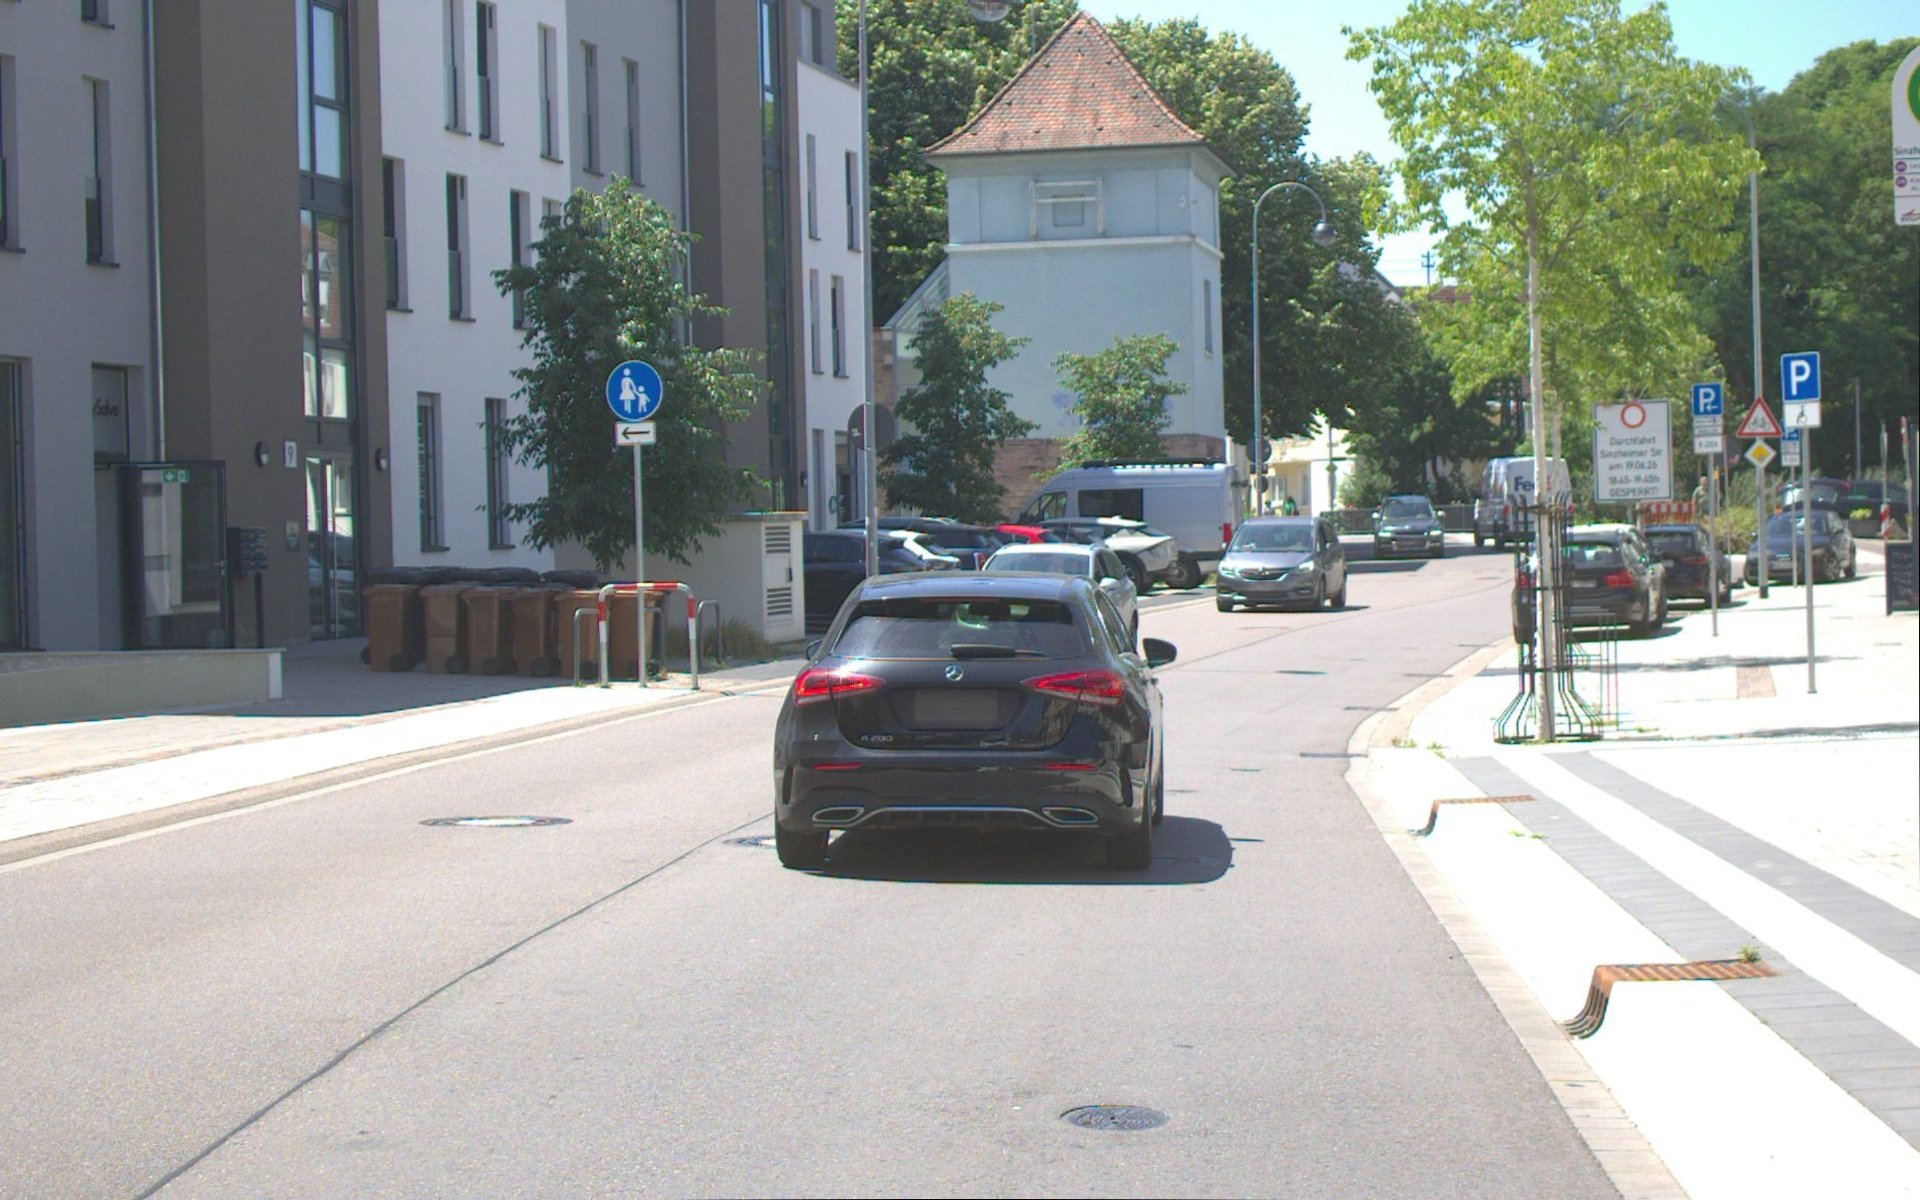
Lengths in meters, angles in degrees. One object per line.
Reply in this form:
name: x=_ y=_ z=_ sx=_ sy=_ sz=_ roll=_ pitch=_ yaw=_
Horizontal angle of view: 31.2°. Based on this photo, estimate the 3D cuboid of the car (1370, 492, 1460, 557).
car: x=12.154 y=-2.012 z=91.729 sx=1.812 sy=1.695 sz=4.073 roll=0 pitch=1 yaw=16

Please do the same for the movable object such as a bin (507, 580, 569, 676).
movable object such as a bin: x=-4.471 y=0.291 z=36.448 sx=0.483 sy=0.994 sz=0.587 roll=0 pitch=1 yaw=12

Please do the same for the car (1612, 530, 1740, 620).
car: x=12.248 y=-0.450 z=58.637 sx=1.725 sy=1.400 sz=4.605 roll=-2 pitch=1 yaw=17

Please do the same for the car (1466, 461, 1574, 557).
car: x=15.721 y=-2.547 z=96.760 sx=2.127 sy=2.621 sz=5.278 roll=0 pitch=1 yaw=0

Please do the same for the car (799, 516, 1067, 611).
car: x=-0.427 y=-0.621 z=56.813 sx=4.035 sy=1.491 sz=1.999 roll=1 pitch=2 yaw=15

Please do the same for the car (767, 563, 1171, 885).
car: x=0.155 y=0.539 z=17.578 sx=1.828 sy=1.437 sz=4.000 roll=0 pitch=1 yaw=3

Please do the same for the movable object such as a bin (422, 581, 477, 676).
movable object such as a bin: x=-5.468 y=0.303 z=36.849 sx=0.403 sy=0.994 sz=0.555 roll=0 pitch=1 yaw=11

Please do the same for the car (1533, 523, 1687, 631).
car: x=9.961 y=-0.378 z=52.476 sx=1.739 sy=1.481 sz=4.051 roll=-3 pitch=1 yaw=18

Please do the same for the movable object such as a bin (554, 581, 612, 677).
movable object such as a bin: x=-3.966 y=0.302 z=36.206 sx=0.483 sy=0.994 sz=0.588 roll=-1 pitch=1 yaw=5

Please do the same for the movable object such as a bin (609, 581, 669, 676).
movable object such as a bin: x=-3.438 y=0.298 z=36.830 sx=0.483 sy=0.994 sz=0.587 roll=0 pitch=1 yaw=11

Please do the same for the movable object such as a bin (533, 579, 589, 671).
movable object such as a bin: x=-4.463 y=0.277 z=38.484 sx=0.554 sy=0.994 sz=0.404 roll=-1 pitch=1 yaw=-1

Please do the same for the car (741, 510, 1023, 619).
car: x=-1.210 y=-0.581 z=54.125 sx=4.035 sy=1.645 sz=1.999 roll=1 pitch=2 yaw=15

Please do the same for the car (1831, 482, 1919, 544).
car: x=26.441 y=-2.425 z=95.796 sx=4.077 sy=1.710 sz=1.855 roll=1 pitch=2 yaw=11

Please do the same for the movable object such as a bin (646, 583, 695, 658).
movable object such as a bin: x=-3.394 y=0.238 z=40.328 sx=0.554 sy=0.865 sz=0.482 roll=-1 pitch=1 yaw=-5

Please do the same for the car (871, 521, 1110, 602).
car: x=0.583 y=-0.732 z=63.678 sx=4.201 sy=1.432 sz=1.885 roll=1 pitch=2 yaw=9

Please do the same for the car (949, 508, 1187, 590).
car: x=2.176 y=-1.043 z=68.902 sx=4.456 sy=1.585 sz=1.999 roll=1 pitch=2 yaw=13

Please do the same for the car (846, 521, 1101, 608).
car: x=0.247 y=-0.631 z=59.631 sx=4.035 sy=1.425 sz=1.999 roll=1 pitch=2 yaw=15

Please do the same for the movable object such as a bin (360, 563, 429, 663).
movable object such as a bin: x=-6.337 y=0.140 z=38.550 sx=0.692 sy=1.092 sz=0.648 roll=-1 pitch=1 yaw=-5

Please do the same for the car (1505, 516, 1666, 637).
car: x=8.510 y=-0.332 z=46.515 sx=1.833 sy=1.477 sz=4.093 roll=-3 pitch=0 yaw=14

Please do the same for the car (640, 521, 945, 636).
car: x=-2.384 y=-0.329 z=49.504 sx=3.989 sy=1.510 sz=1.999 roll=1 pitch=4 yaw=13

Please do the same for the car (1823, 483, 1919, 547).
car: x=25.747 y=-2.329 z=93.965 sx=4.077 sy=1.710 sz=1.855 roll=1 pitch=2 yaw=11

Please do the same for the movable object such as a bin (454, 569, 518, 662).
movable object such as a bin: x=-5.431 y=0.174 z=39.403 sx=0.675 sy=1.035 sz=0.605 roll=-1 pitch=1 yaw=-5

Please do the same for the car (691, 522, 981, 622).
car: x=-1.851 y=-0.443 z=51.691 sx=3.989 sy=1.416 sz=1.909 roll=1 pitch=1 yaw=13

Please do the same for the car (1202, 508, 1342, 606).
car: x=5.513 y=-0.766 z=60.264 sx=1.943 sy=1.653 sz=4.233 roll=0 pitch=1 yaw=12

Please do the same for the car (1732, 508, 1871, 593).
car: x=16.941 y=-1.009 z=69.078 sx=1.874 sy=1.486 sz=3.857 roll=-2 pitch=2 yaw=26

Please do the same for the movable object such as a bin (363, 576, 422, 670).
movable object such as a bin: x=-6.107 y=0.245 z=37.010 sx=0.483 sy=0.994 sz=0.588 roll=-1 pitch=1 yaw=5

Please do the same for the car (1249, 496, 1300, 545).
car: x=13.101 y=-3.297 z=143.342 sx=1.994 sy=2.007 sz=3.999 roll=1 pitch=1 yaw=4

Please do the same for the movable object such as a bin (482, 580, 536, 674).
movable object such as a bin: x=-4.854 y=0.287 z=37.025 sx=0.403 sy=0.994 sz=0.555 roll=0 pitch=1 yaw=11

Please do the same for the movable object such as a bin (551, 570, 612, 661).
movable object such as a bin: x=-4.323 y=0.176 z=39.265 sx=0.554 sy=1.016 sz=0.560 roll=-1 pitch=1 yaw=8

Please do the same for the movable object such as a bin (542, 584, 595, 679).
movable object such as a bin: x=-4.196 y=0.336 z=36.862 sx=0.403 sy=0.994 sz=0.555 roll=0 pitch=1 yaw=11

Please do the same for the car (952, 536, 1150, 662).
car: x=1.112 y=-0.041 z=40.109 sx=1.668 sy=1.391 sz=3.846 roll=0 pitch=1 yaw=11

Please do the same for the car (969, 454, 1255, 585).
car: x=3.269 y=-1.741 z=73.558 sx=5.771 sy=2.723 sz=2.290 roll=1 pitch=1 yaw=14

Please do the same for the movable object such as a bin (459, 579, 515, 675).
movable object such as a bin: x=-5.019 y=0.284 z=36.482 sx=0.425 sy=0.994 sz=0.523 roll=0 pitch=1 yaw=12

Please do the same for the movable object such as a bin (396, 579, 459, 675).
movable object such as a bin: x=-5.619 y=0.281 z=36.282 sx=0.483 sy=0.994 sz=0.526 roll=0 pitch=1 yaw=14
